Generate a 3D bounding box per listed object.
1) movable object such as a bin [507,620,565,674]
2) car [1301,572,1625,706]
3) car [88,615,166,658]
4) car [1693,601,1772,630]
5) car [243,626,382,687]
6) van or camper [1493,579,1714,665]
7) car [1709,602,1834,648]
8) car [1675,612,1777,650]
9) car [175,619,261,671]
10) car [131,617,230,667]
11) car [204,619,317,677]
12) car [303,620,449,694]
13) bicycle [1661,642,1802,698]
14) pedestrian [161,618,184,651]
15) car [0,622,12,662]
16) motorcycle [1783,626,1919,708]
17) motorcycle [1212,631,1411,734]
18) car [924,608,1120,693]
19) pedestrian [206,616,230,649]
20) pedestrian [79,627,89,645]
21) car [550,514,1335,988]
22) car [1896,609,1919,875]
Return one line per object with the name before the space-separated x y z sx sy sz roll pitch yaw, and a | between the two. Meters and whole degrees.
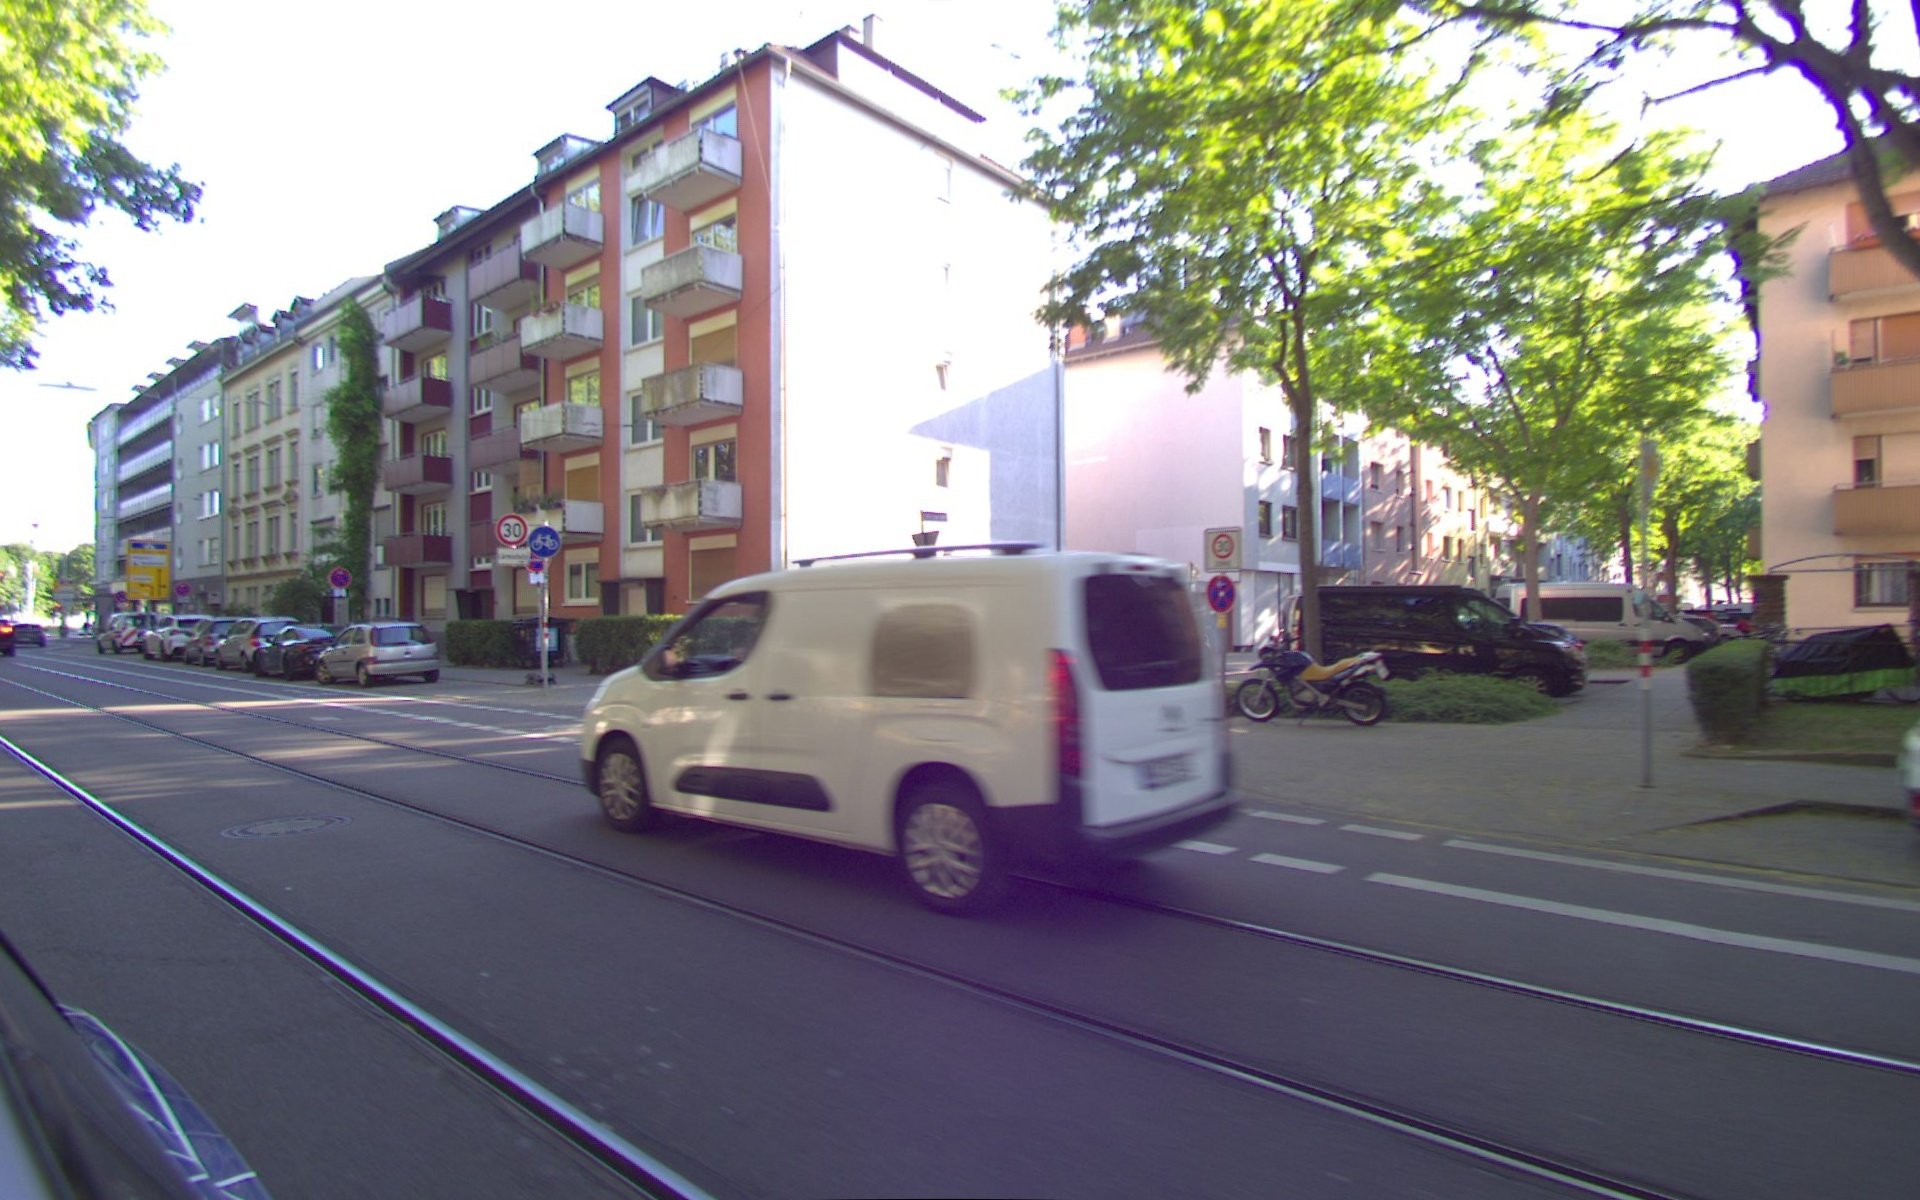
movable object such as a bin | -11.256 1.229 26.881 0.747 1.375 1.198 -1 -2 43
car | 8.539 0.640 17.676 4.676 2.139 1.992 0 0 13
car | -37.072 1.608 45.021 4.465 1.784 1.771 -2 0 38
car | 55.516 1.137 72.811 3.954 2.029 1.994 0 -1 9
car | -17.483 1.449 27.242 4.862 1.405 1.932 -1 1 42
van or camper | 20.580 0.710 32.638 5.487 2.649 2.250 0 -1 10
car | 36.572 1.117 45.735 3.965 2.029 1.817 -1 -1 17
car | 41.446 1.672 54.850 3.954 2.029 1.822 0 -1 9
car | -24.996 1.476 34.059 3.781 1.583 1.608 -1 0 43
car | -29.031 1.509 37.629 4.878 1.661 1.932 -1 0 40
car | -21.317 1.416 30.797 4.001 1.599 1.801 -1 -1 39
car | -13.661 1.267 23.592 3.927 1.494 1.708 -1 1 40
bicycle | 13.122 1.171 17.243 1.869 0.878 0.602 -1 -1 41
pedestrian | -44.167 1.918 56.741 0.735 1.798 0.856 -2 0 40
car | -41.800 1.758 42.959 4.461 1.612 1.834 0 0 41
motorcycle | 13.291 0.954 14.677 2.065 1.138 0.687 -1 -2 41
motorcycle | 4.743 1.108 13.776 2.346 1.290 0.893 -4 -4 39
car | 1.452 1.008 22.020 1.937 1.618 4.485 1 0 41
pedestrian | -42.104 1.836 57.425 0.729 1.827 0.952 -2 0 42
pedestrian | -83.133 3.431 96.022 0.706 1.686 0.905 1 -2 -41
car | -0.461 0.636 6.281 4.893 1.846 1.872 -1 -2 41
car | 7.630 0.810 5.201 4.089 1.489 1.787 -1 1 42
